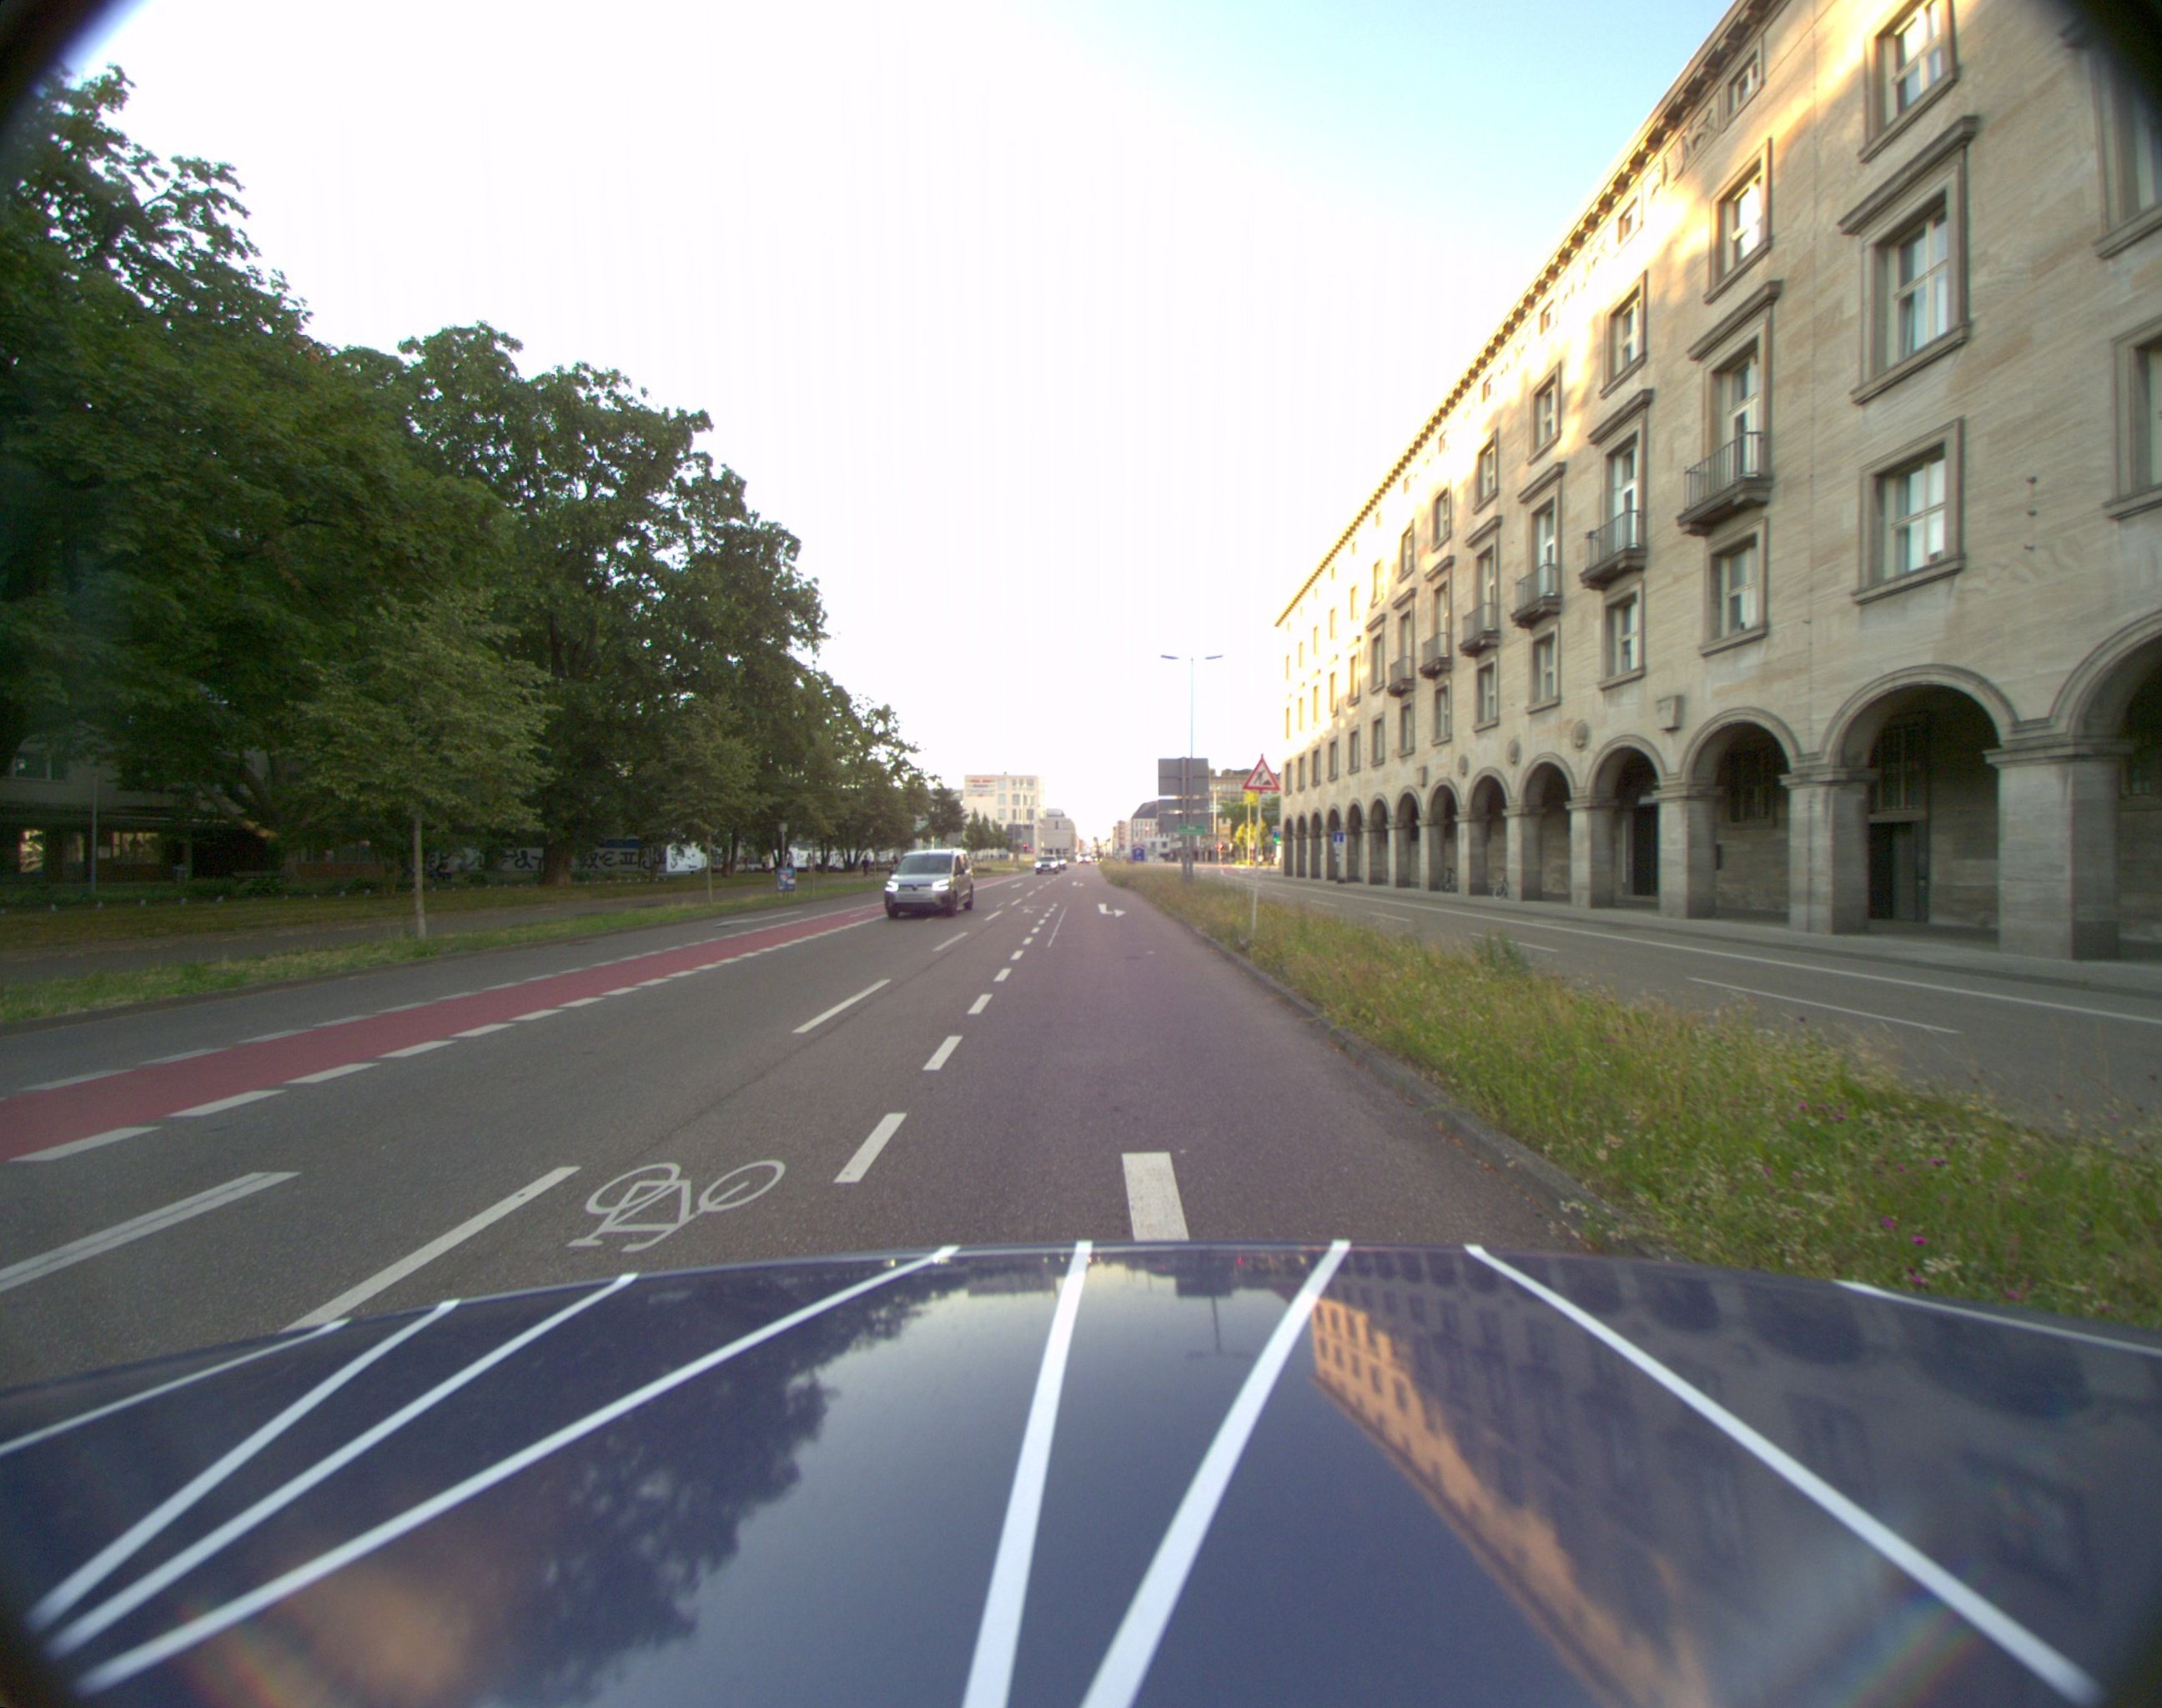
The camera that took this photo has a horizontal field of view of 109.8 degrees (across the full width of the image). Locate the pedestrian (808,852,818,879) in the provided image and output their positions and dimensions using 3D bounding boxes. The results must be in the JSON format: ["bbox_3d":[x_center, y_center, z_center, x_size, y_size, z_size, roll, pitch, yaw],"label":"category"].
[{"bbox_3d":[-15.753,0.651,44.676,0.500,1.592,0.365,0,1,1],"label":"pedestrian"}]

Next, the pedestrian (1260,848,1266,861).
[{"bbox_3d":[24.281,0.014,101.431,0.638,1.747,0.506,0,1,1],"label":"pedestrian"}]

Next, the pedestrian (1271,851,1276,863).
[{"bbox_3d":[25.642,0.433,101.215,0.526,1.532,0.390,0,1,1],"label":"pedestrian"}]

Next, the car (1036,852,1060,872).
[{"bbox_3d":[-2.915,0.709,66.944,1.826,1.612,4.336,-2,0,0],"label":"car"}]

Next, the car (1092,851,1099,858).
[{"bbox_3d":[4.285,0.184,228.935,1.999,2.297,5.089,0,0,-1],"label":"car"}]

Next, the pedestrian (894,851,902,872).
[{"bbox_3d":[-14.928,0.577,62.001,0.509,1.720,0.719,0,1,1],"label":"pedestrian"}]

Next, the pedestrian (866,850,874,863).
[{"bbox_3d":[-22.527,0.251,81.165,0.662,1.347,0.559,0,1,1],"label":"pedestrian"}]

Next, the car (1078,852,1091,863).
[{"bbox_3d":[0.596,0.512,114.835,1.781,1.676,4.216,0,0,3],"label":"car"}]

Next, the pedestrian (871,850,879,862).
[{"bbox_3d":[-22.552,0.219,83.133,0.654,1.347,0.505,0,1,1],"label":"pedestrian"}]

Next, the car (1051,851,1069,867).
[{"bbox_3d":[-2.264,0.541,81.953,1.782,1.617,4.215,-1,0,1],"label":"car"}]

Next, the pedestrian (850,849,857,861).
[{"bbox_3d":[-24.371,0.110,81.393,0.631,1.347,0.681,0,1,1],"label":"pedestrian"}]

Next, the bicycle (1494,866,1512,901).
[{"bbox_3d":[15.316,1.047,27.547,0.513,1.115,2.427,0,1,30],"label":"bicycle"}]

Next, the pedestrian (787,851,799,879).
[{"bbox_3d":[-16.622,0.616,43.903,0.500,1.592,0.522,0,1,1],"label":"pedestrian"}]

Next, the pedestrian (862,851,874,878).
[{"bbox_3d":[-13.439,0.662,47.964,0.558,1.729,0.555,0,1,1],"label":"pedestrian"}]

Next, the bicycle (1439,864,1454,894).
[{"bbox_3d":[15.441,1.025,32.138,0.513,1.172,2.427,0,0,25],"label":"bicycle"}]

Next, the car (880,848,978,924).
[{"bbox_3d":[-4.136,0.801,21.356,1.767,1.877,4.500,0,0,1],"label":"car"}]

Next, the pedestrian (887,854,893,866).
[{"bbox_3d":[-21.070,0.646,83.757,0.509,1.347,0.435,0,1,1],"label":"pedestrian"}]

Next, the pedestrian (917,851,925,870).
[{"bbox_3d":[-14.318,0.599,67.996,0.509,1.720,0.719,0,1,1],"label":"pedestrian"}]

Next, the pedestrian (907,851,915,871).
[{"bbox_3d":[-15.205,0.631,68.064,0.519,1.720,0.719,0,1,1],"label":"pedestrian"}]
